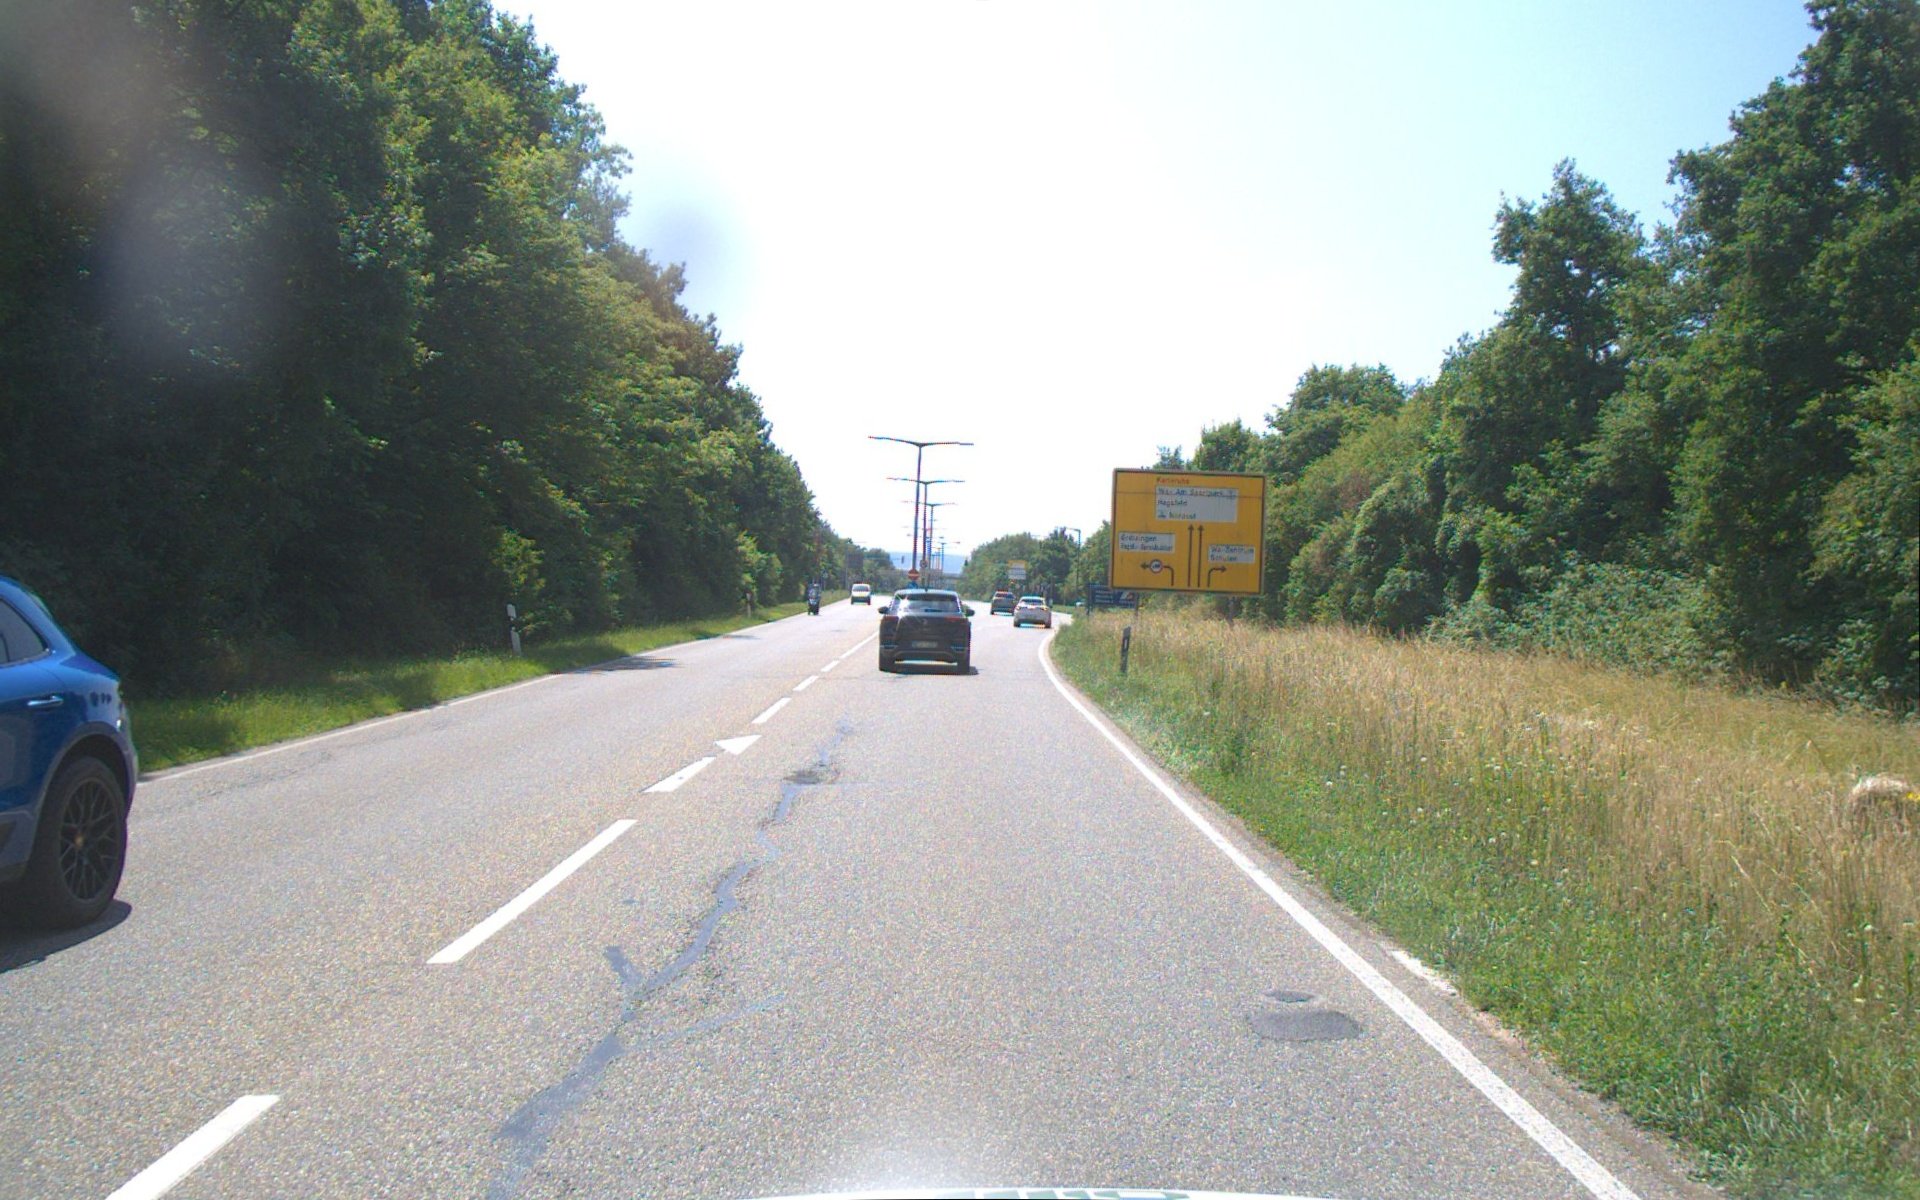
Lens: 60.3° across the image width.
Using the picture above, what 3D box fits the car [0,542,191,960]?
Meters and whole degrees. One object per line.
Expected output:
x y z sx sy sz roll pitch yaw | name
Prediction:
-4.592 0.588 5.819 1.786 1.618 4.418 0 0 -1 | car

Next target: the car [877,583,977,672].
-0.704 0.509 32.418 1.721 1.583 3.997 2 0 -4 | car

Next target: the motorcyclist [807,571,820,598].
-8.265 -0.881 93.173 0.657 1.501 0.813 1 0 -4 | motorcyclist

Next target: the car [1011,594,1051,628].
3.403 0.522 80.217 1.760 1.611 4.000 1 0 0 | car

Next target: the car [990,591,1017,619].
3.231 0.363 123.901 1.720 1.962 3.999 3 0 -1 | car

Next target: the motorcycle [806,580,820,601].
-8.284 -0.532 93.359 0.657 1.195 2.230 1 0 -3 | motorcycle

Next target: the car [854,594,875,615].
-8.186 0.348 141.640 1.697 1.717 4.094 0 0 -2 | car
